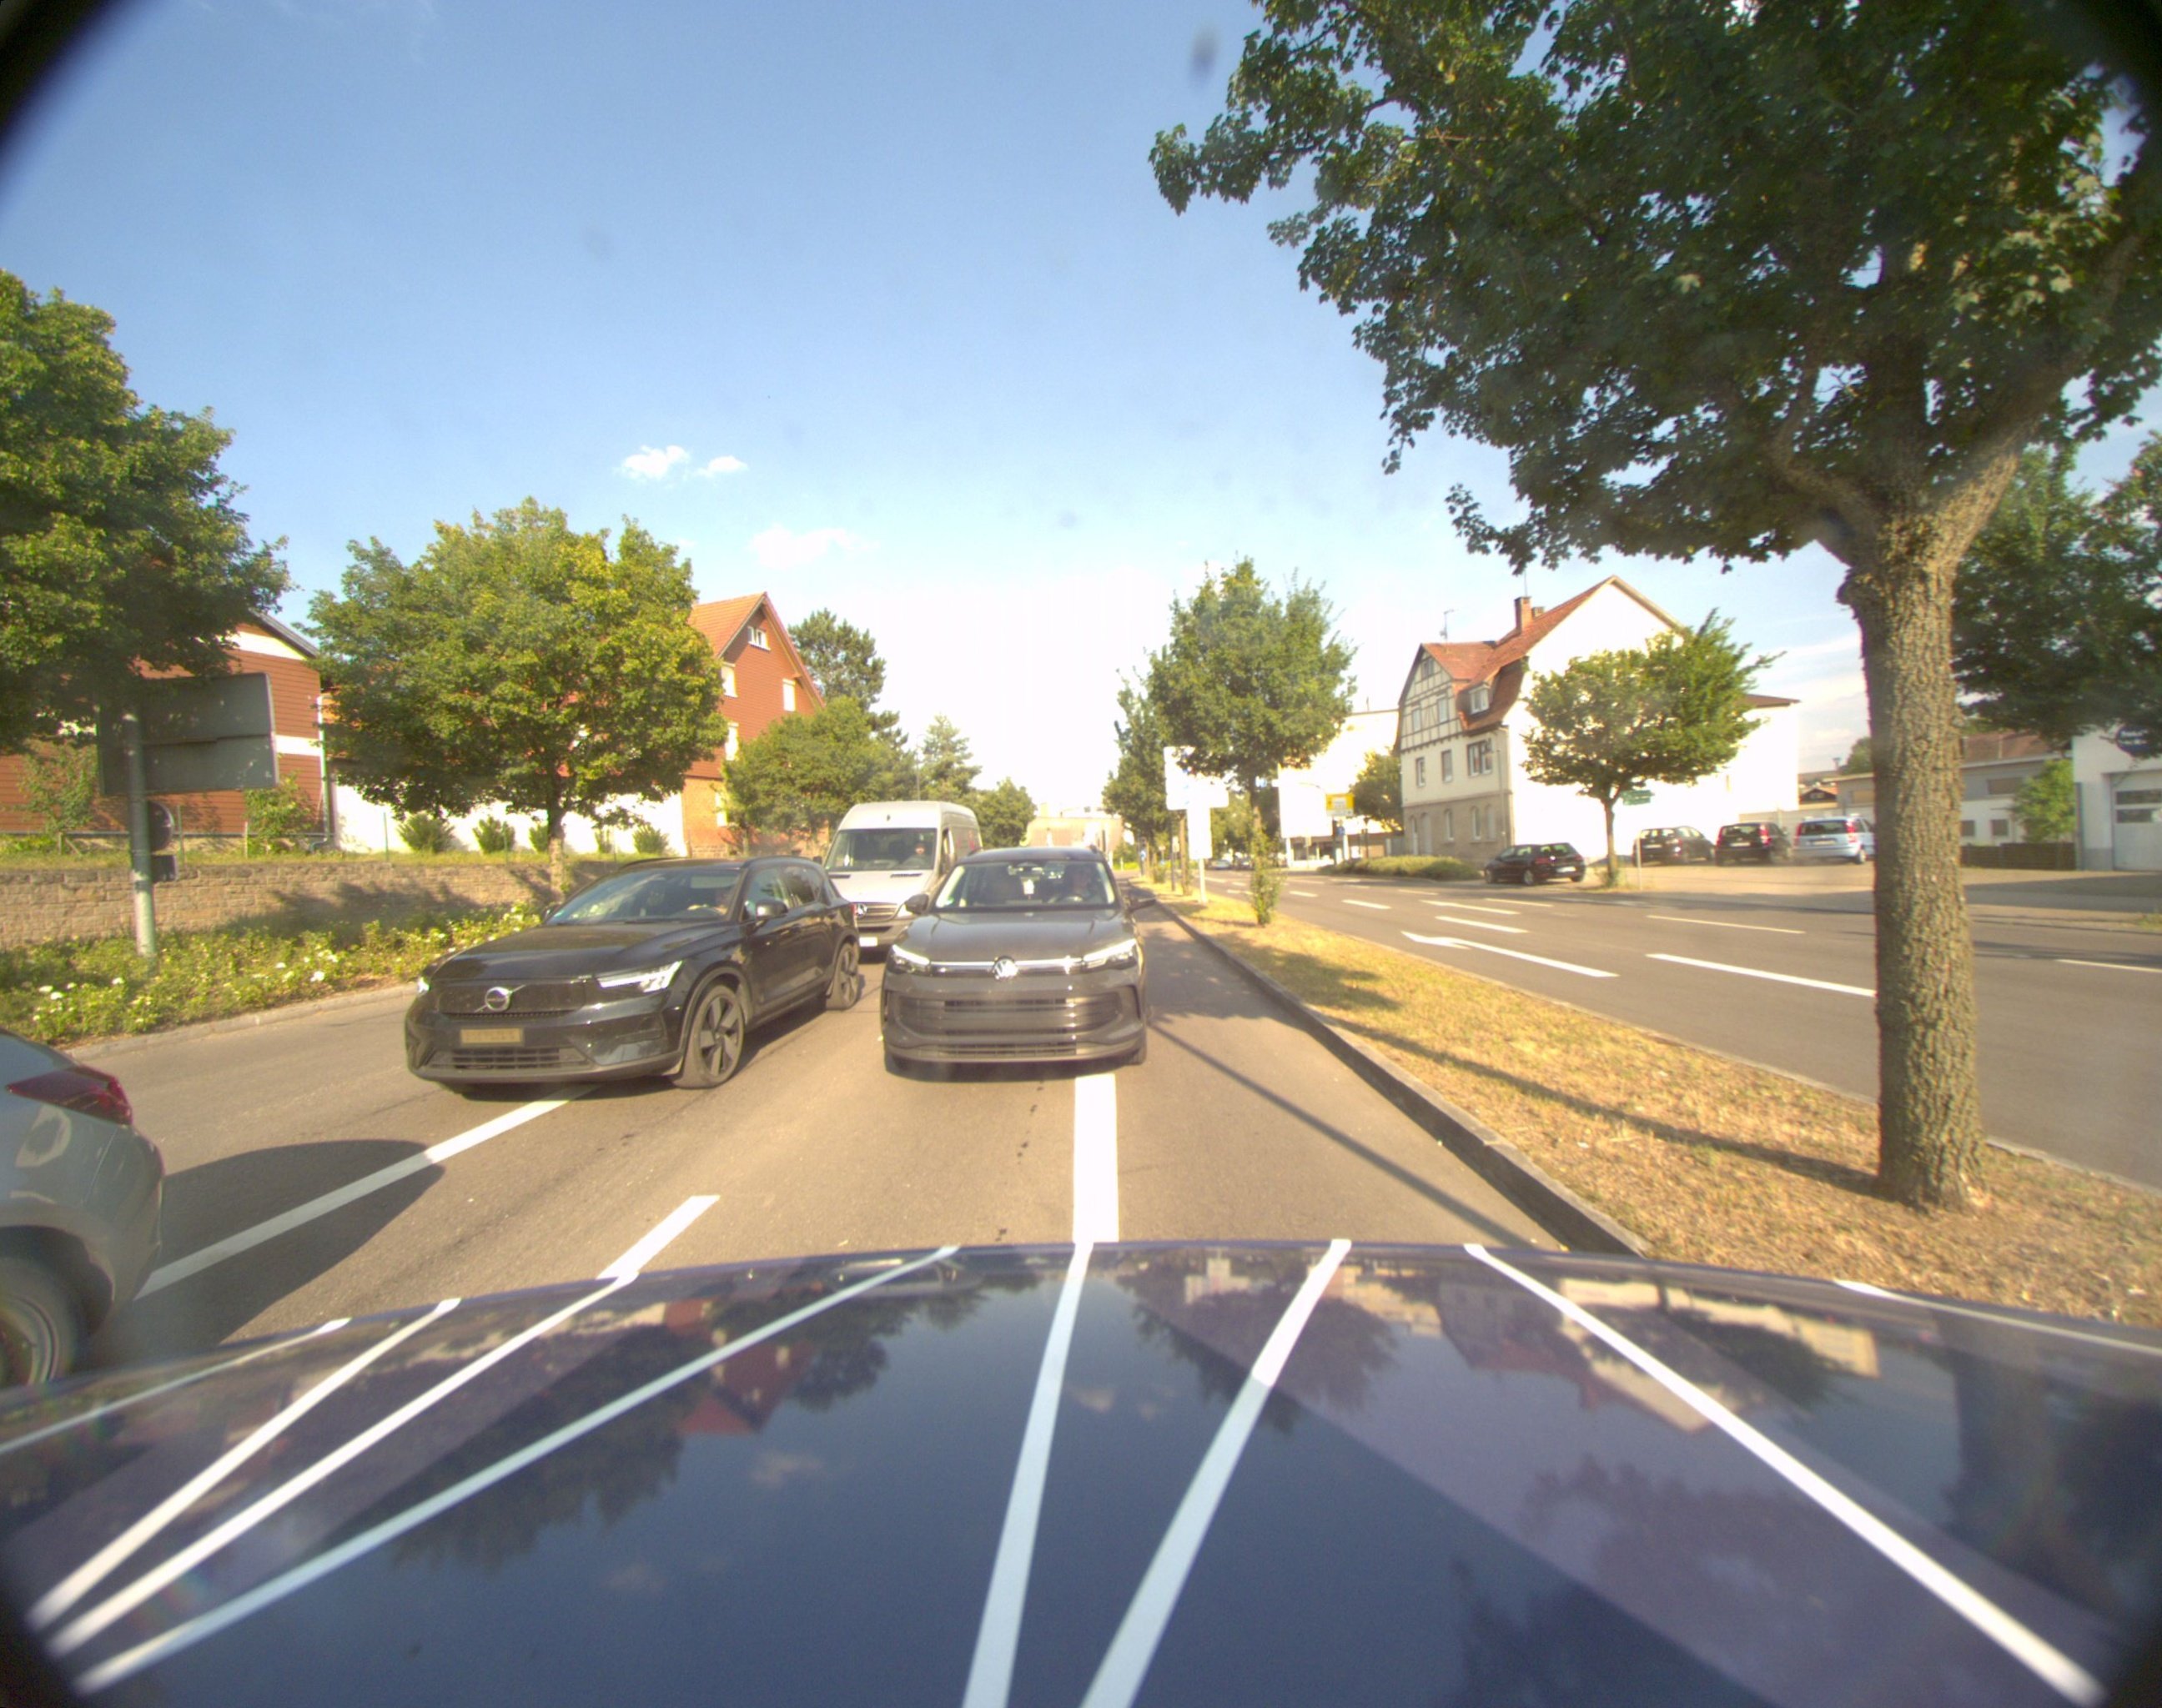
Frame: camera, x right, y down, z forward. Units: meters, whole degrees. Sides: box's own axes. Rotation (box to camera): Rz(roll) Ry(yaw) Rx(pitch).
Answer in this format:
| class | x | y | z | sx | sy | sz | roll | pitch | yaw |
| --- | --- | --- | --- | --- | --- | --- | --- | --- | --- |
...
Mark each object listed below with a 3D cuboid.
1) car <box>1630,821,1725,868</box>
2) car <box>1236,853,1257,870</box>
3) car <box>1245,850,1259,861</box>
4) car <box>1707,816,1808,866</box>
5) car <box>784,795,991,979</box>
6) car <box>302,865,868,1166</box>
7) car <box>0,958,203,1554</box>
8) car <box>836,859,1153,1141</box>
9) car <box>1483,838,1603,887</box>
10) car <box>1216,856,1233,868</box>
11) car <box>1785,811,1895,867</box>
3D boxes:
| class | x | y | z | sx | sy | sz | roll | pitch | yaw |
| --- | --- | --- | --- | --- | --- | --- | --- | --- | --- |
| car | 23.380 | -0.390 | 29.753 | 3.830 | 1.493 | 1.816 | -5 | 0 | -35 |
| car | 16.948 | 0.743 | 77.982 | 1.780 | 1.683 | 4.002 | -2 | 0 | 9 |
| car | 27.973 | 0.273 | 124.091 | 1.779 | 1.683 | 4.005 | -2 | 0 | 19 |
| car | 24.659 | -0.487 | 27.656 | 3.830 | 1.493 | 1.816 | -5 | 0 | -35 |
| car | -3.071 | 0.453 | 13.679 | 1.992 | 2.554 | 6.046 | -1 | 0 | 2 |
| car | -3.399 | 0.948 | 6.431 | 1.845 | 1.600 | 4.318 | -1 | 0 | 2 |
| car | -3.613 | 1.062 | 0.183 | 1.766 | 1.445 | 4.318 | -1 | 0 | 0 |
| car | -0.451 | 0.874 | 6.619 | 1.845 | 1.600 | 4.318 | -1 | 0 | 2 |
| car | 16.034 | 0.282 | 26.619 | 1.818 | 1.442 | 3.825 | -5 | 0 | 1 |
| car | 18.640 | 1.026 | 98.680 | 1.779 | 1.460 | 4.378 | -2 | 0 | 14 |
| car | 24.881 | -0.501 | 24.890 | 3.830 | 1.493 | 1.816 | -5 | 0 | -35 |
